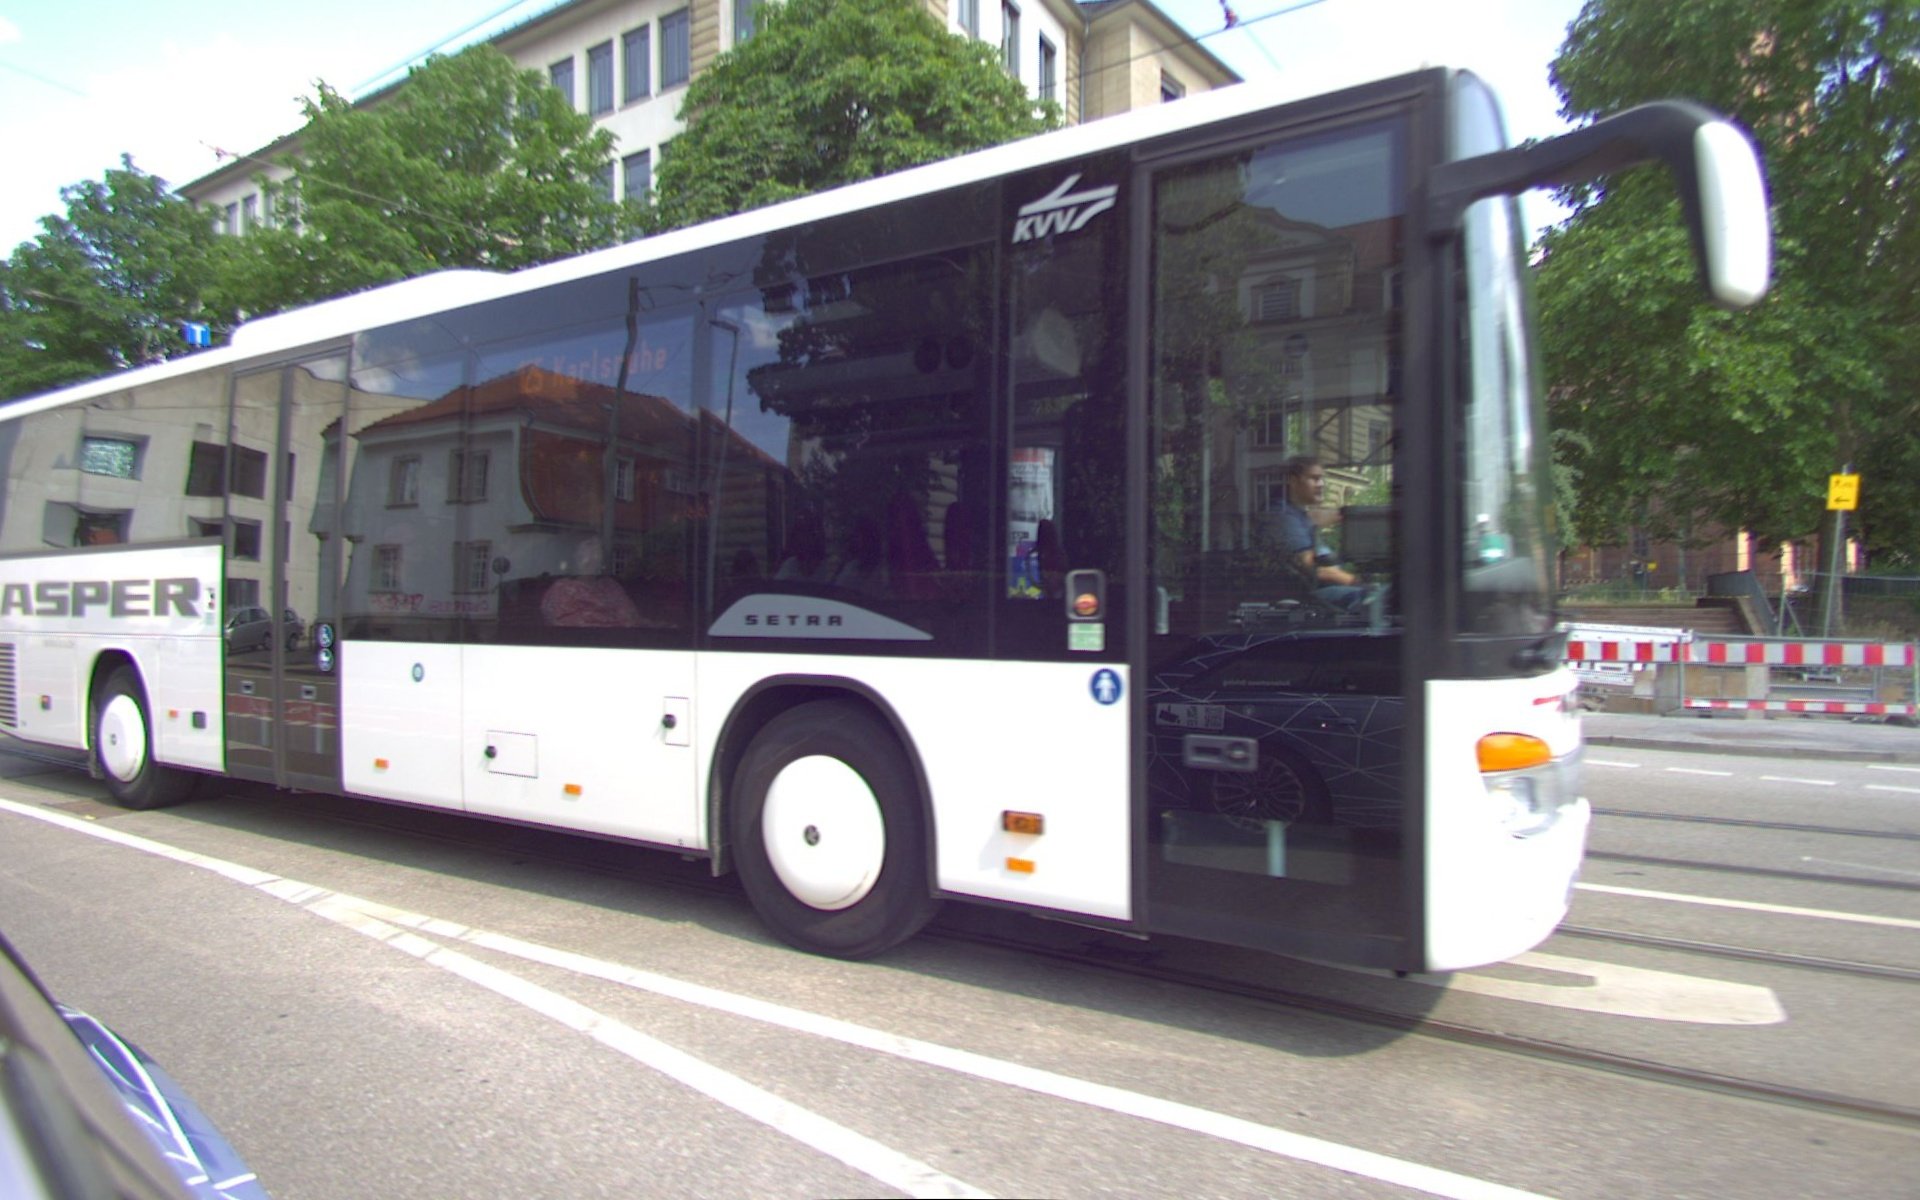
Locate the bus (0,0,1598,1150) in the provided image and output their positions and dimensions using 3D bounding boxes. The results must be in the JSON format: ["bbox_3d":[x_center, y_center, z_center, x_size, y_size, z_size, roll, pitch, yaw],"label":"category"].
[{"bbox_3d":[-2.943,-0.309,6.869,12.158,3.353,2.897,0,1,30],"label":"bus"}]

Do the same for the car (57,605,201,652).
[{"bbox_3d":[-30.811,0.999,37.714,1.900,1.562,4.242,-1,0,-1],"label":"car"}]

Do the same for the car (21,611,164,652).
[{"bbox_3d":[-33.266,1.160,38.970,1.770,1.458,4.237,-1,-1,3],"label":"car"}]
